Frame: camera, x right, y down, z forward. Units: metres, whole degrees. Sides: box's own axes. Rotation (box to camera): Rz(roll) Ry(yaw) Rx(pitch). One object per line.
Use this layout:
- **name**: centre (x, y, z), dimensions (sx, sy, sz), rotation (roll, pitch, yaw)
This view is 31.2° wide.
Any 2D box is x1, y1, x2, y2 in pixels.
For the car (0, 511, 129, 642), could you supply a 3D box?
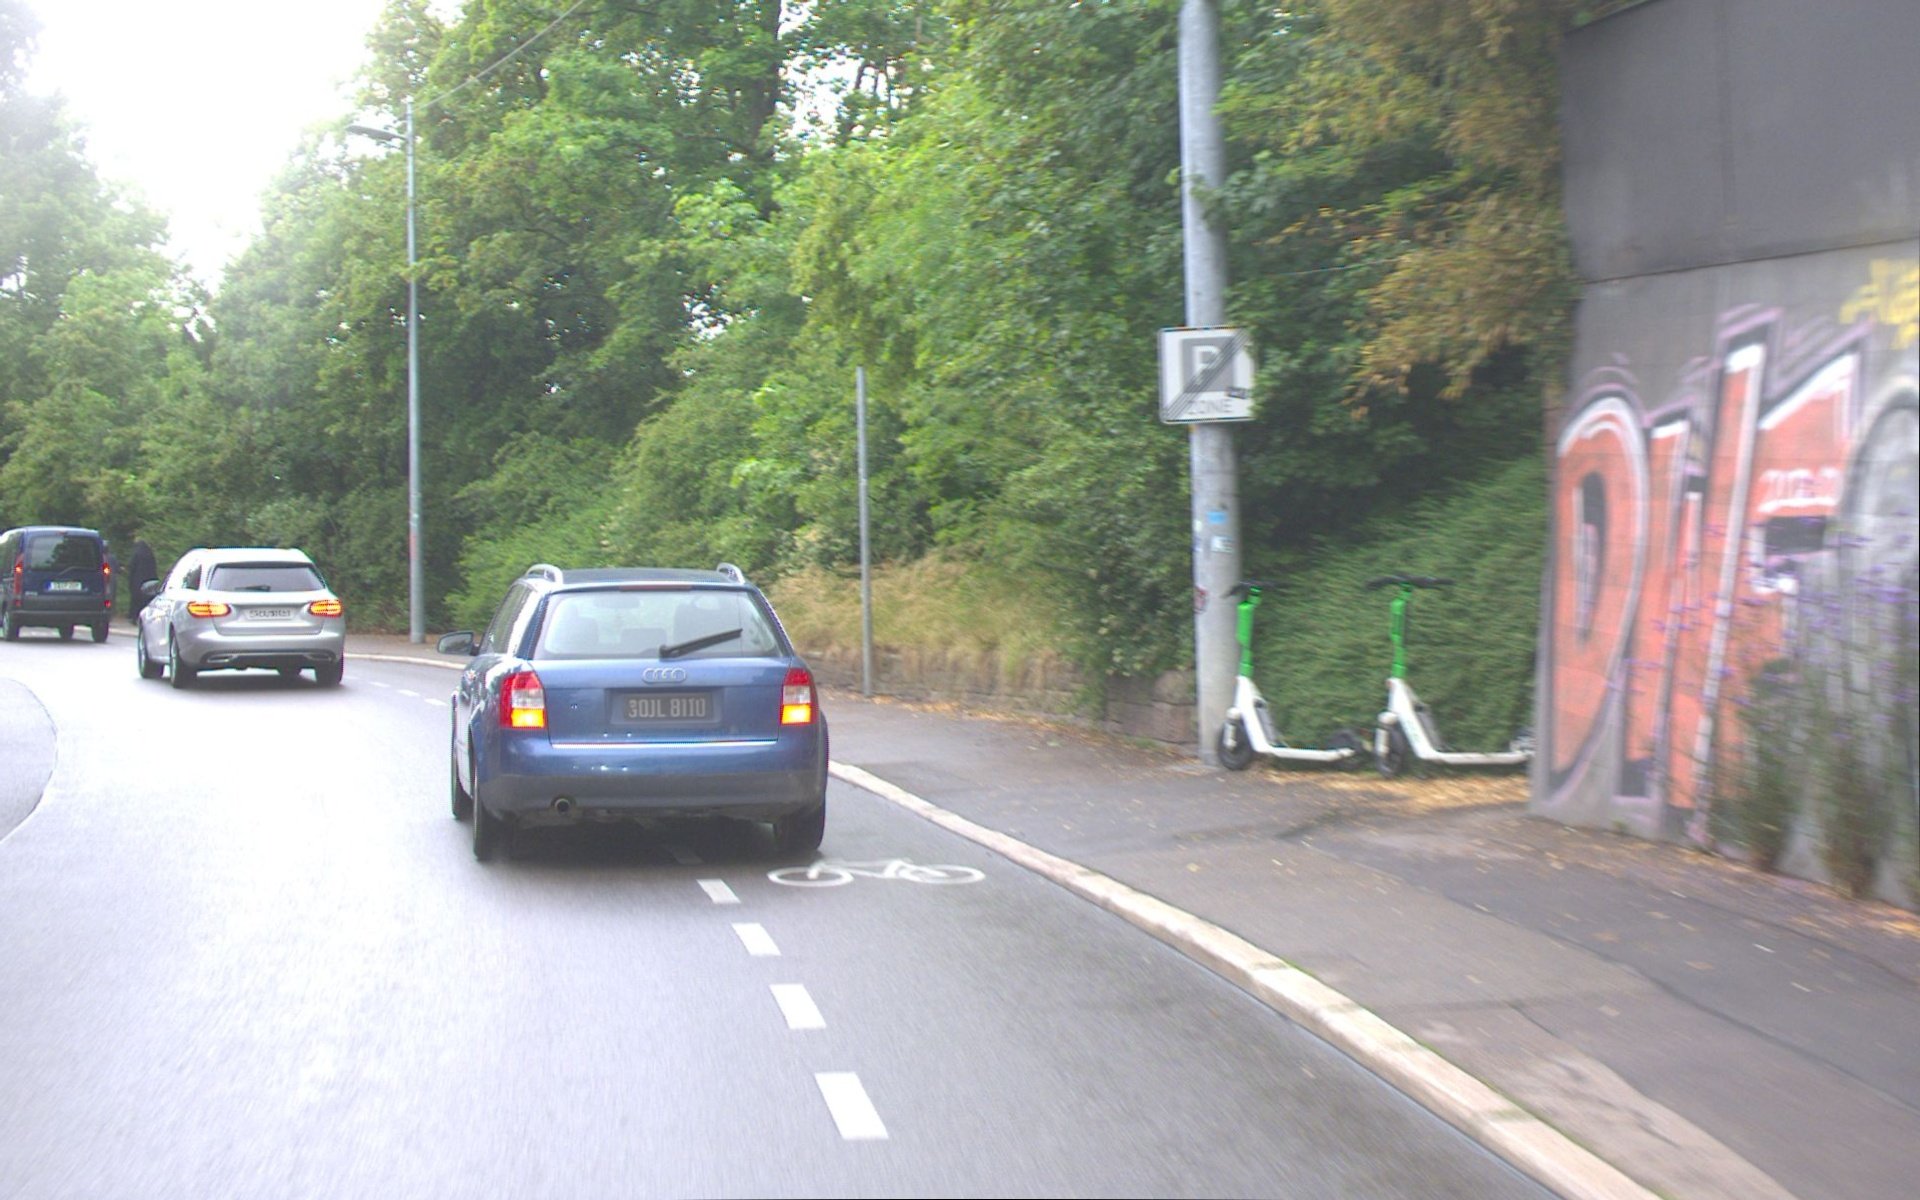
- **car**: centre (-14.938, -0.365, 56.002), dimensions (1.788, 1.947, 4.000), rotation (-4, 1, -26)

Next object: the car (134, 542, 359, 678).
- **car**: centre (-7.816, 0.065, 37.407), dimensions (1.890, 1.384, 4.001), rotation (-1, 1, -19)

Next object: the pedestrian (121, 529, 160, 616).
- **pedestrian**: centre (-14.885, -0.499, 62.441), dimensions (0.595, 1.561, 0.669), rotation (-1, 1, -22)

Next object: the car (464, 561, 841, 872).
- **car**: centre (-1.674, 0.515, 17.998), dimensions (1.747, 1.403, 4.001), rotation (0, 1, -7)

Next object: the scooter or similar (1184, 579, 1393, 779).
- **scooter or similar**: centre (1.938, 0.452, 20.428), dimensions (0.346, 1.113, 1.422), rotation (-9, 5, -31)

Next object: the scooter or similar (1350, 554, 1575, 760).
- **scooter or similar**: centre (2.789, 0.302, 19.197), dimensions (0.346, 1.113, 1.422), rotation (-1, 1, -36)
